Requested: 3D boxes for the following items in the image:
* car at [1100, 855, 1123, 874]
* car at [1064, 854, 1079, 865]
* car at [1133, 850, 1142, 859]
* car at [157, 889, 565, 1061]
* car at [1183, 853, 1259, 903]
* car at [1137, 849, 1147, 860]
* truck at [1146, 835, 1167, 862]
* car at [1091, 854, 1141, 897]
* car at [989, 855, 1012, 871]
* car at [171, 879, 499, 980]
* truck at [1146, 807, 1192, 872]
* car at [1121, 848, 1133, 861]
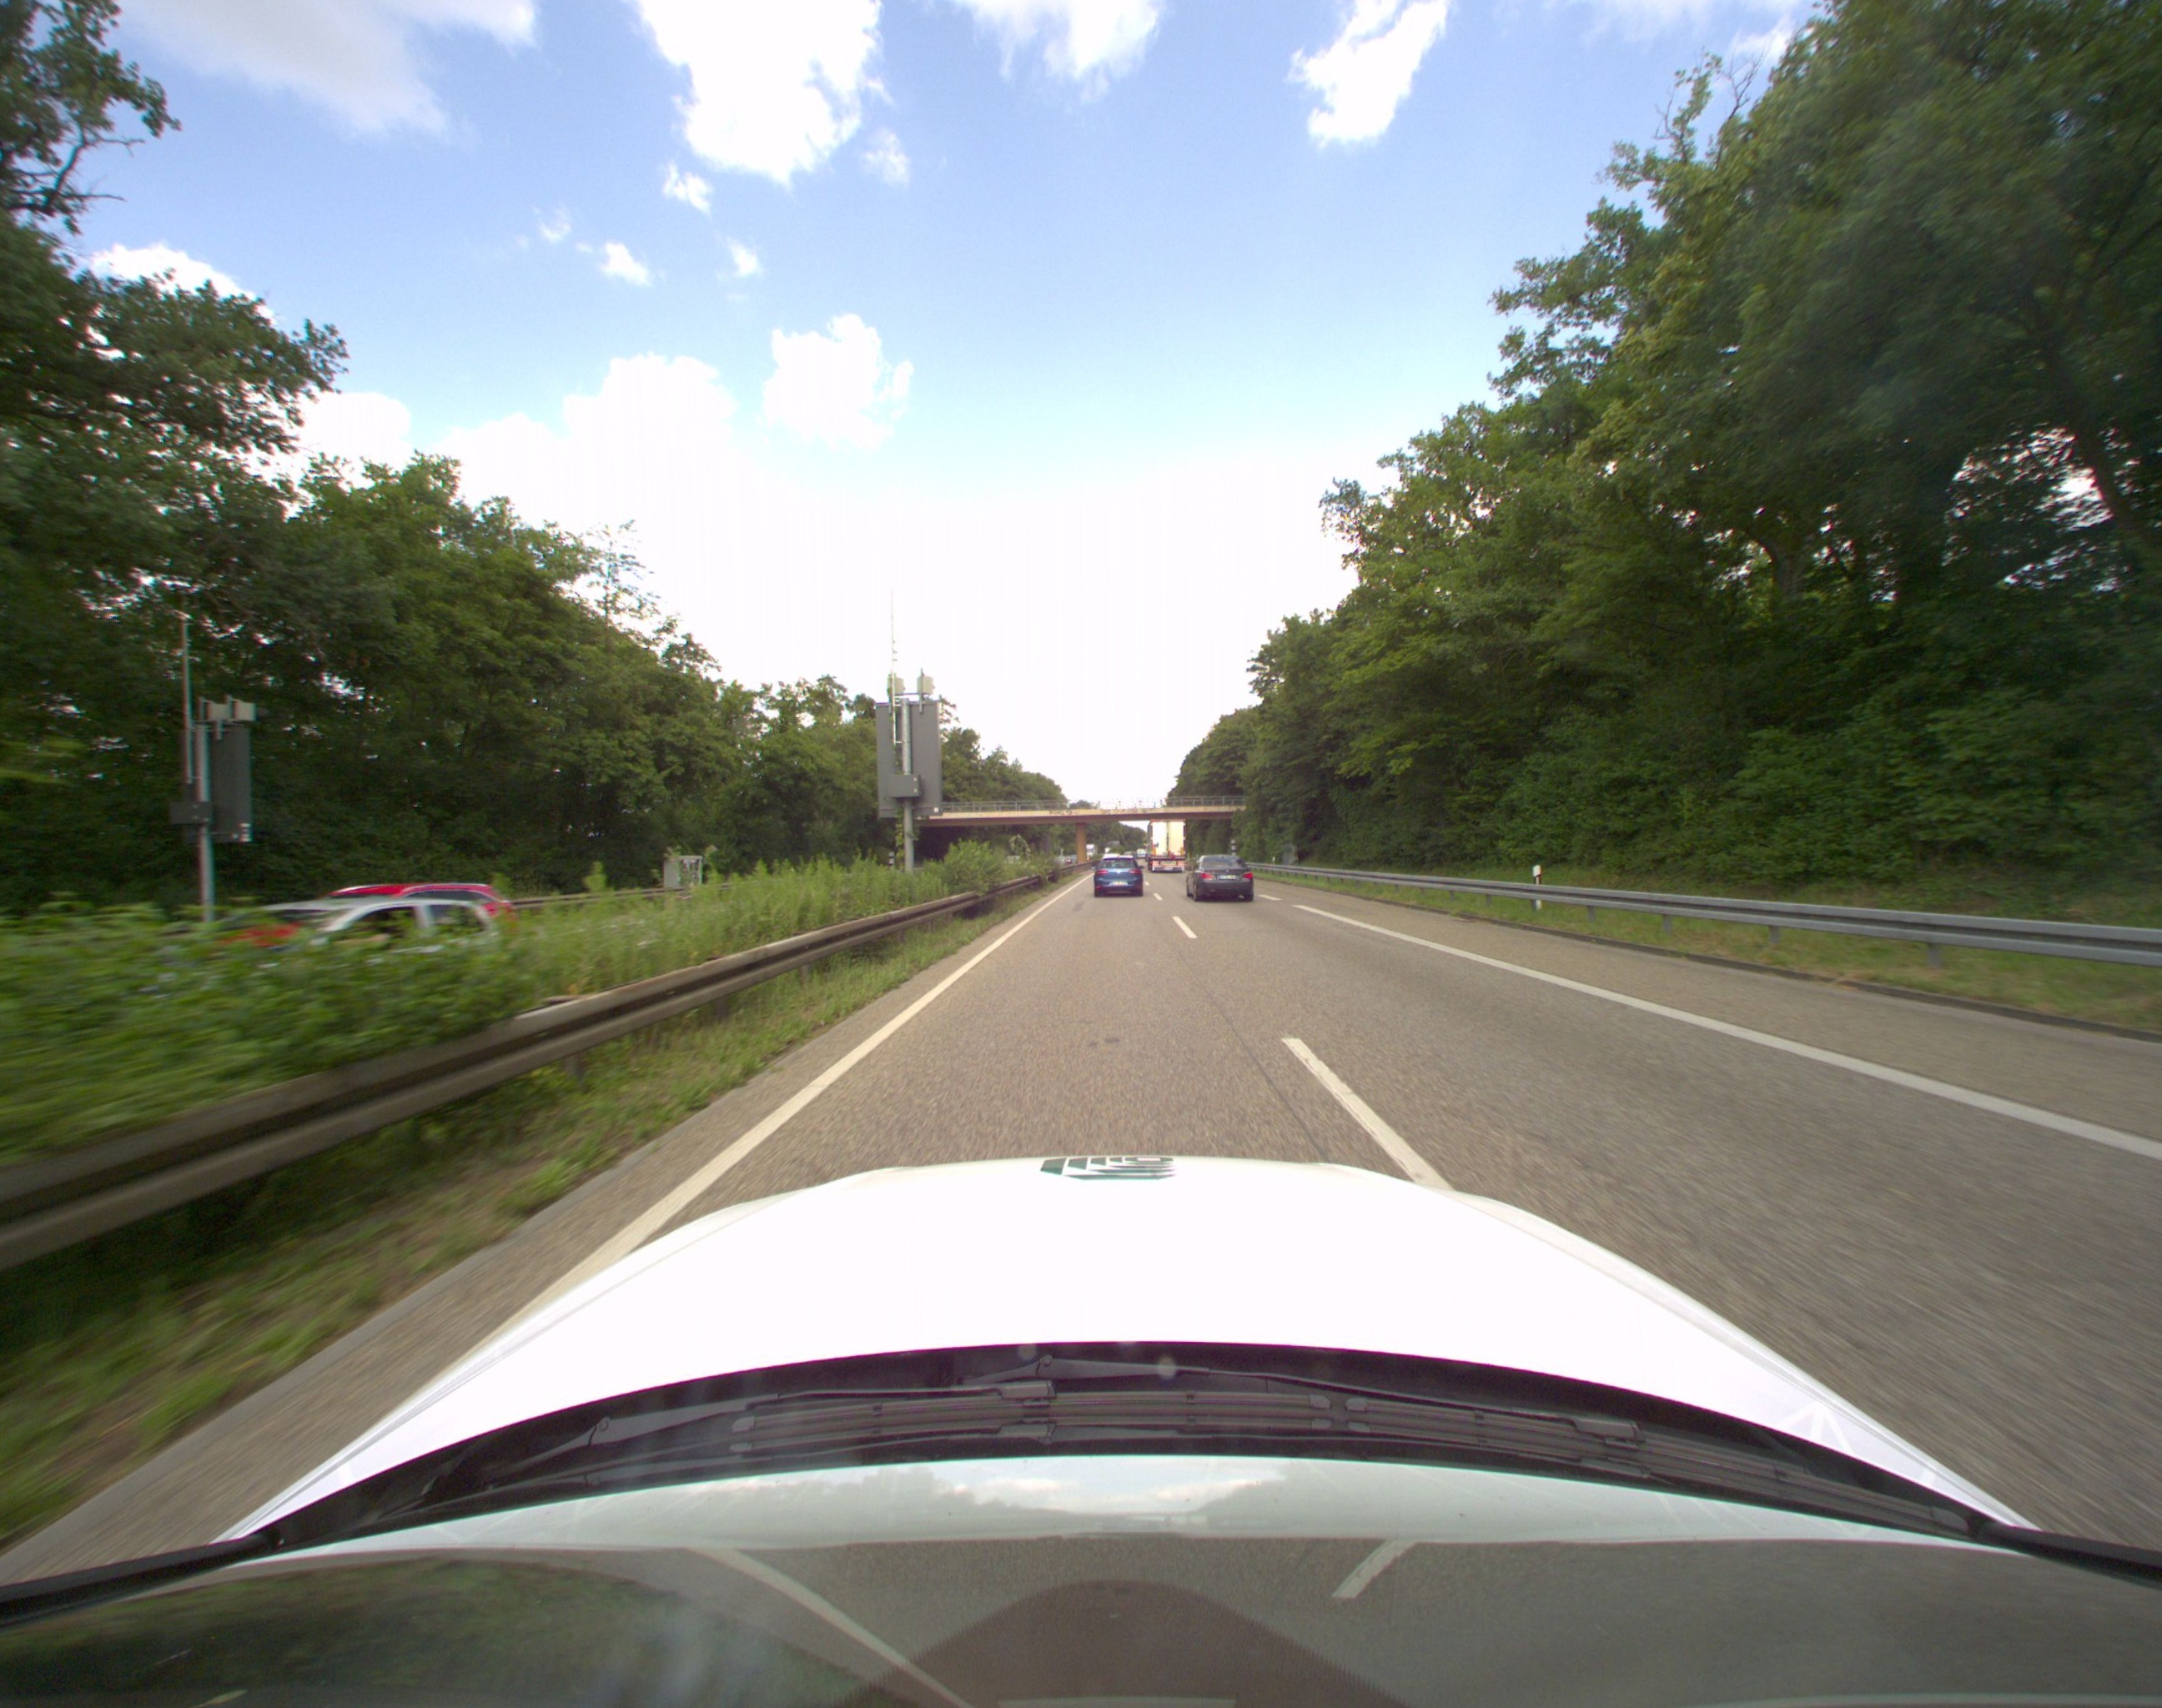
[{"bbox_3d":[2.479,0.813,65.262,1.657,1.500,4.158,-1,0,5],"label":"car"},{"bbox_3d":[-1.447,0.775,122.793,1.858,1.589,4.569,-2,0,3],"label":"car"},{"bbox_3d":[14.152,0.109,202.917,1.986,2.327,4.444,-2,0,2],"label":"car"},{"bbox_3d":[-7.827,1.207,9.319,1.608,1.423,3.325,-2,0,2],"label":"car"},{"bbox_3d":[4.449,0.722,26.601,1.768,1.475,4.882,0,0,2],"label":"car"},{"bbox_3d":[13.258,0.045,177.335,1.986,2.255,4.444,-2,0,2],"label":"car"},{"bbox_3d":[12.906,-0.771,140.256,3.218,4.386,12.981,-1,-1,3],"label":"truck"},{"bbox_3d":[1.347,0.746,29.939,1.697,1.470,4.005,0,0,4],"label":"car"},{"bbox_3d":[-8.953,0.967,90.921,1.779,1.738,4.883,-2,0,2],"label":"car"},{"bbox_3d":[-12.260,1.148,13.870,1.859,1.353,4.244,-1,-1,-4],"label":"car"},{"bbox_3d":[6.925,-1.075,65.520,3.227,4.716,11.022,-2,0,5],"label":"truck"},{"bbox_3d":[7.350,0.033,129.825,1.945,2.013,4.004,-2,0,4],"label":"car"}]
